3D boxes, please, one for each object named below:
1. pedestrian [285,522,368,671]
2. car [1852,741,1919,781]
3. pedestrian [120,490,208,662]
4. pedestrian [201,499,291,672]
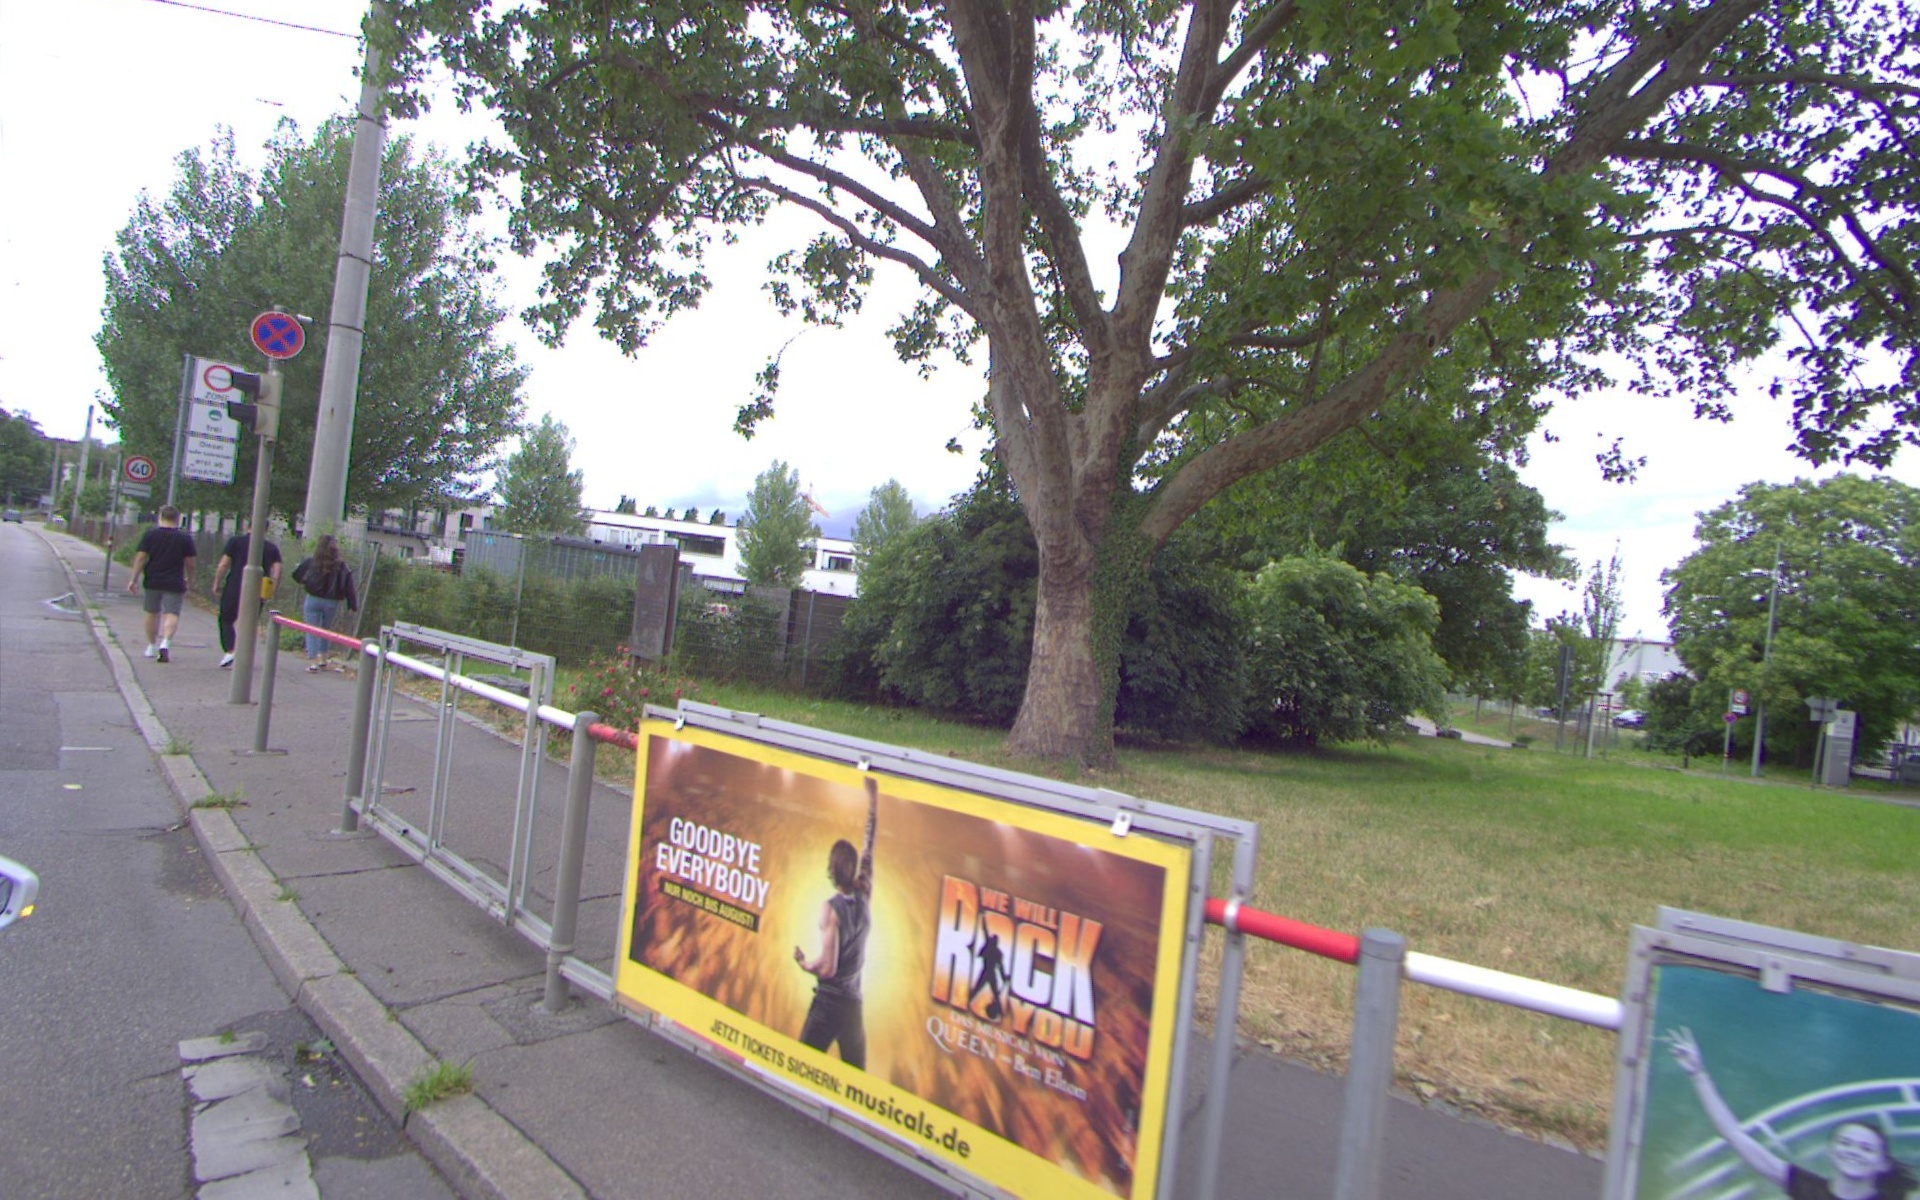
[{"bbox_3d":[-7.661,-0.027,12.160,0.600,1.708,0.664,7,-5,-42],"label":"pedestrian"},{"bbox_3d":[51.454,8.896,55.523,3.953,1.720,1.904,8,-2,-27],"label":"car"},{"bbox_3d":[-9.275,-0.256,11.719,0.600,1.887,0.664,7,-5,-42],"label":"pedestrian"},{"bbox_3d":[-8.187,-0.159,11.537,0.600,1.889,0.664,7,-2,-42],"label":"pedestrian"}]
